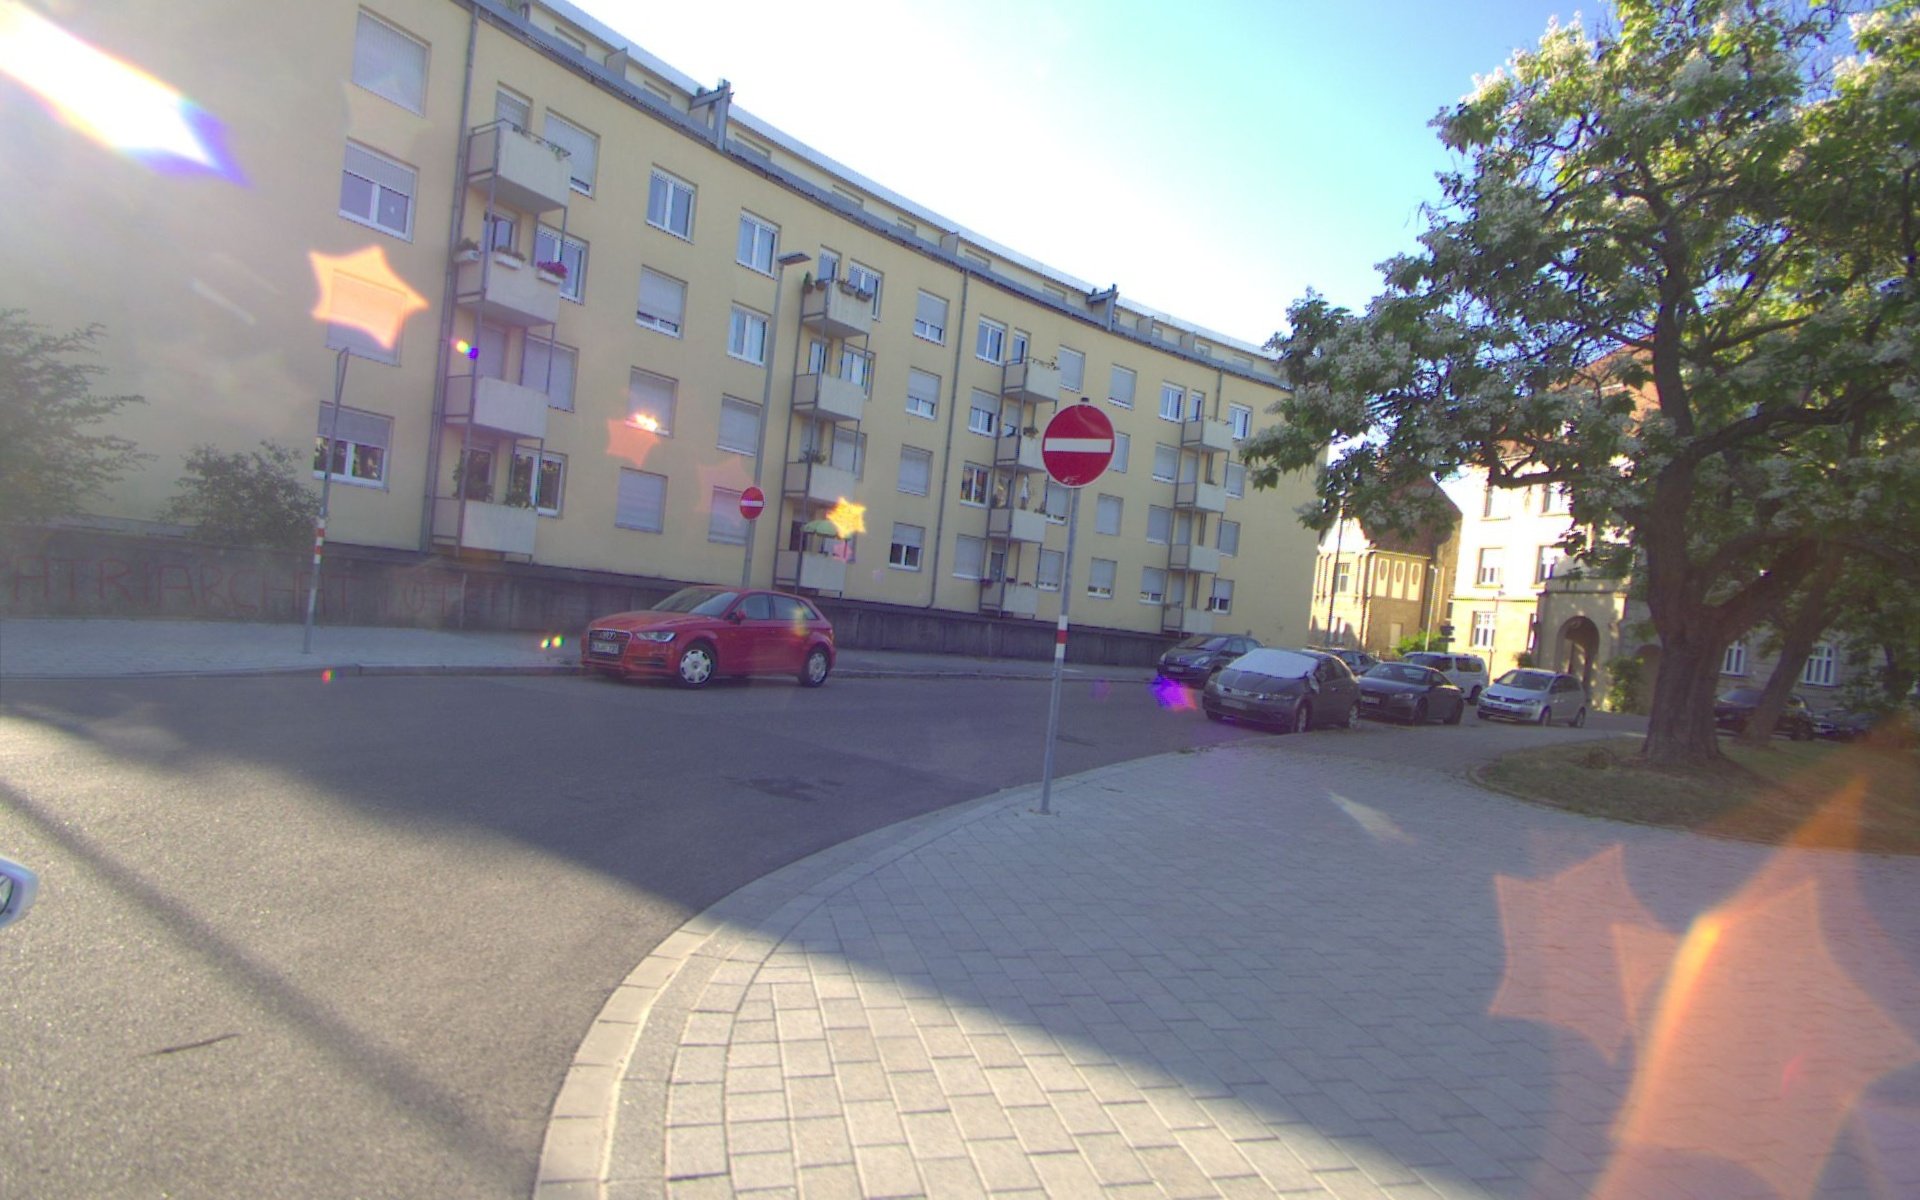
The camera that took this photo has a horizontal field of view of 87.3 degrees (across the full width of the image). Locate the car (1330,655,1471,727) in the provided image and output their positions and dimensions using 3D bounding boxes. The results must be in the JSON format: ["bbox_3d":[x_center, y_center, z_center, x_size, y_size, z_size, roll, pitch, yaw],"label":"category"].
[{"bbox_3d":[10.378,2.162,23.598,1.704,1.313,3.684,8,0,45],"label":"car"}]

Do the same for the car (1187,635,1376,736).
[{"bbox_3d":[5.969,1.593,18.418,1.702,1.445,3.982,8,0,41],"label":"car"}]

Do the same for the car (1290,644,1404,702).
[{"bbox_3d":[12.918,2.443,33.476,4.014,1.596,1.689,6,-2,-39],"label":"car"}]

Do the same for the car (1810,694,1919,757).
[{"bbox_3d":[33.940,4.670,37.298,3.647,1.779,1.721,8,1,-14],"label":"car"}]

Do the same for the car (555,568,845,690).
[{"bbox_3d":[-3.586,0.484,14.645,1.759,1.437,4.043,4,-2,27],"label":"car"}]

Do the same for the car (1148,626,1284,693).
[{"bbox_3d":[7.427,1.741,28.989,4.015,1.596,1.689,6,-2,-40],"label":"car"}]

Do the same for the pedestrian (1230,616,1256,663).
[{"bbox_3d":[10.107,1.401,35.892,0.522,1.612,0.502,6,0,-37],"label":"pedestrian"}]

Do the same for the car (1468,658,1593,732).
[{"bbox_3d":[16.255,2.715,28.616,3.676,1.647,1.707,8,0,-39],"label":"car"}]

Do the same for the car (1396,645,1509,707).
[{"bbox_3d":[18.229,2.803,37.183,4.003,1.817,1.694,7,-1,-30],"label":"car"}]

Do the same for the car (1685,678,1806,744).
[{"bbox_3d":[27.821,3.926,35.617,3.658,1.779,1.716,8,1,-24],"label":"car"}]
